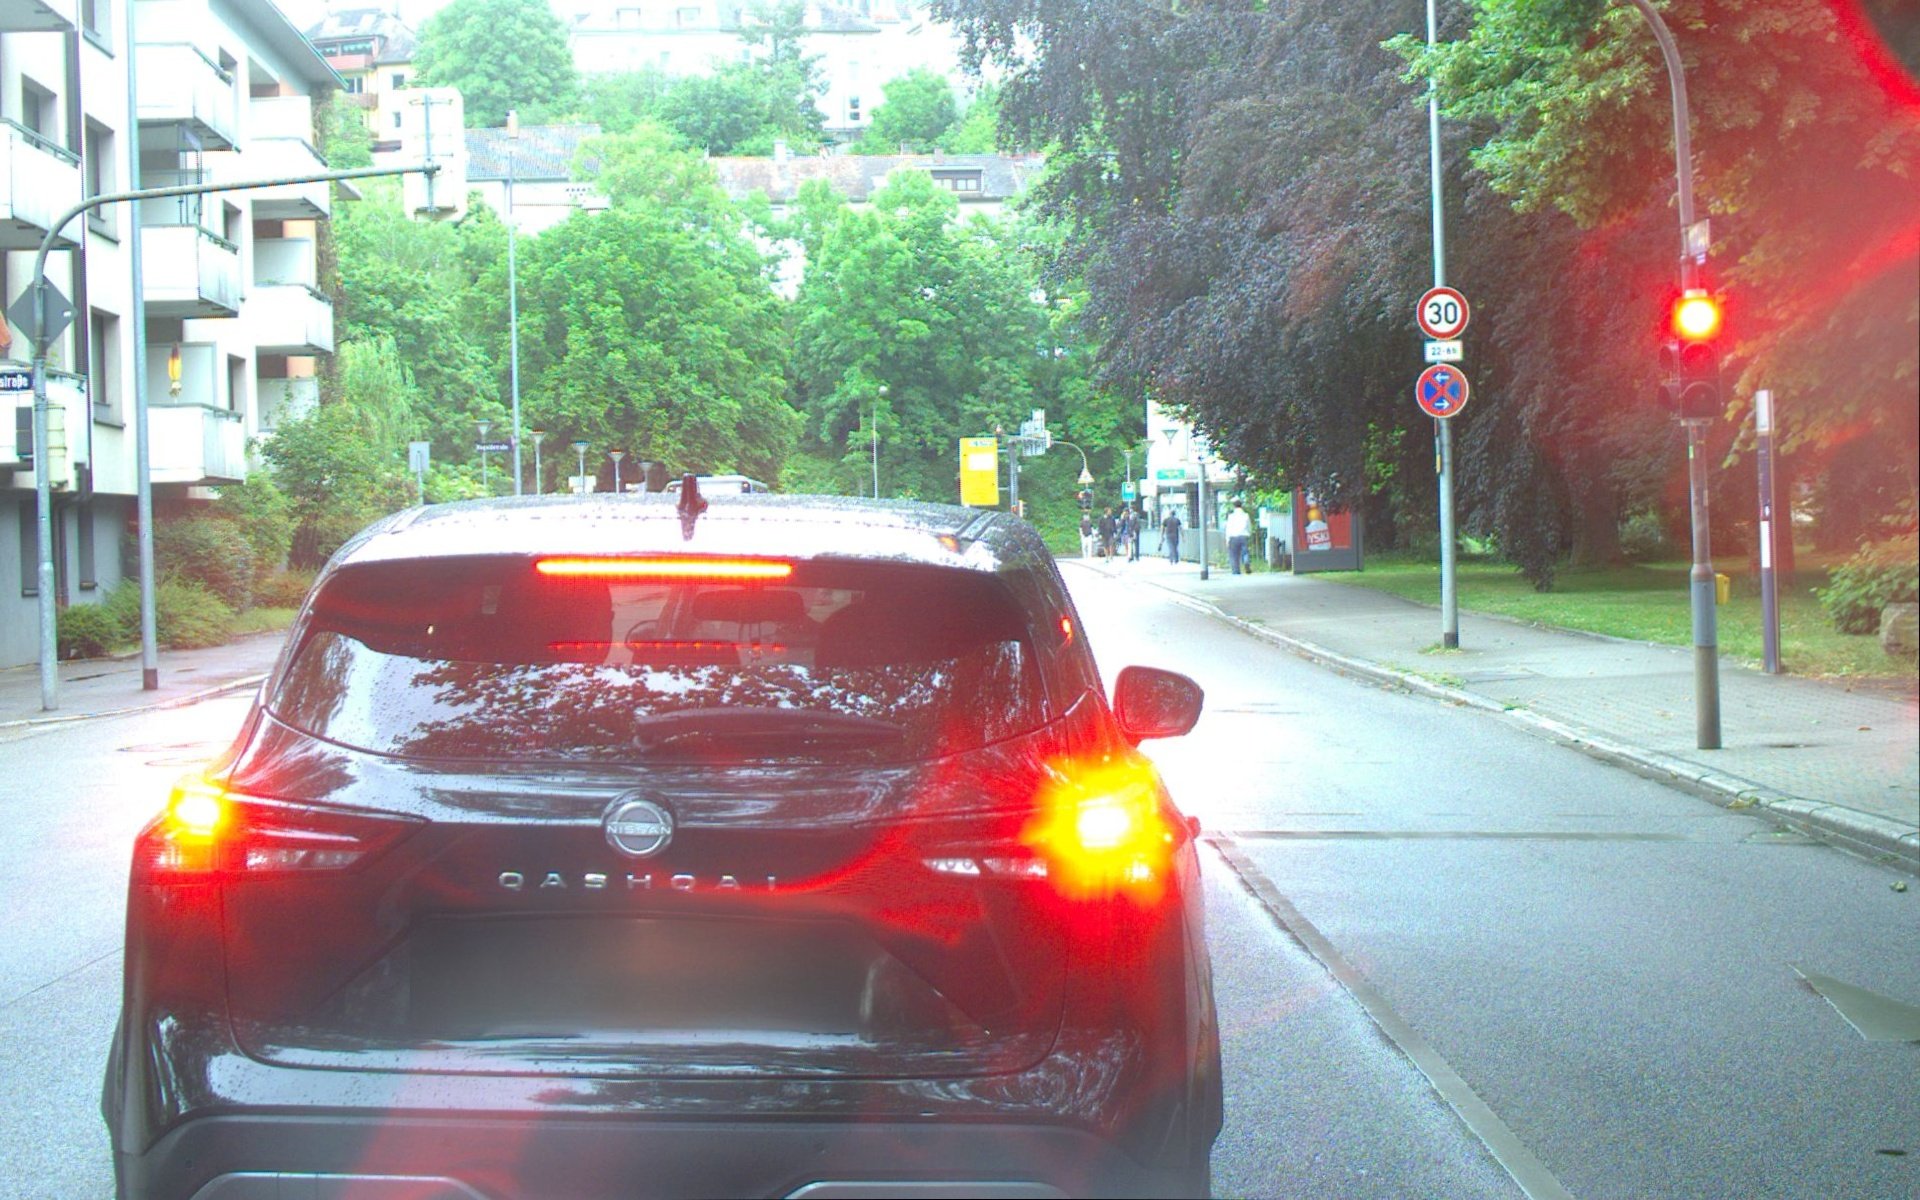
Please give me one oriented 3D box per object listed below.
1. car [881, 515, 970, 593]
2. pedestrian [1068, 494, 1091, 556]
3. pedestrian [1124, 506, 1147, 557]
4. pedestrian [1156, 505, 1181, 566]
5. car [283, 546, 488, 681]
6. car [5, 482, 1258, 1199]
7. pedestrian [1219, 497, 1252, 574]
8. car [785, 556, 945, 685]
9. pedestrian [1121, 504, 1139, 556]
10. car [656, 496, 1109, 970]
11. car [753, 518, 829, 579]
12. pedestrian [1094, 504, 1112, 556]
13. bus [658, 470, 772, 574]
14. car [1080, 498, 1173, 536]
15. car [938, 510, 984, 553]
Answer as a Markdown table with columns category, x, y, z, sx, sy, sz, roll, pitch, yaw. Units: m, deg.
| category | x | y | z | sx | sy | sz | roll | pitch | yaw |
| --- | --- | --- | --- | --- | --- | --- | --- | --- | --- |
| car | -0.650 | -0.899 | 66.208 | 1.624 | 1.410 | 3.455 | -2 | 1 | 0 |
| pedestrian | 4.241 | -2.669 | 122.058 | 0.768 | 2.176 | 0.711 | 1 | 0 | 3 |
| pedestrian | 5.670 | -2.219 | 111.031 | 0.699 | 1.645 | 0.628 | 1 | 0 | 0 |
| pedestrian | 6.128 | -1.900 | 100.901 | 0.618 | 1.773 | 0.551 | -2 | 1 | -1 |
| car | -6.782 | 0.122 | 40.947 | 1.808 | 1.412 | 4.031 | -3 | 1 | -2 |
| car | -0.503 | 0.614 | 6.996 | 1.806 | 1.584 | 4.000 | 1 | 1 | -1 |
| pedestrian | 6.444 | -1.508 | 80.405 | 0.618 | 1.773 | 0.778 | -2 | 1 | -1 |
| car | -1.136 | 0.210 | 41.006 | 1.808 | 1.412 | 4.031 | 0 | 1 | -2 |
| pedestrian | 5.427 | -2.226 | 109.854 | 0.514 | 1.650 | 0.550 | 1 | 0 | -1 |
| car | -0.254 | 0.457 | 14.683 | 1.622 | 1.703 | 3.771 | -2 | 1 | 1 |
| car | -4.109 | -1.268 | 83.893 | 1.624 | 1.410 | 3.455 | -2 | 1 | 0 |
| pedestrian | 4.603 | -2.257 | 110.962 | 0.544 | 1.645 | 0.490 | 1 | 0 | 0 |
| bus | -7.524 | -2.387 | 106.863 | 2.766 | 2.964 | 11.782 | -2 | 1 | -1 |
| car | 7.899 | -3.935 | 163.405 | 3.986 | 1.678 | 2.001 | -2 | 1 | -10 |
| car | 0.039 | -2.728 | 136.522 | 1.750 | 1.628 | 3.635 | -2 | 1 | 0 |
